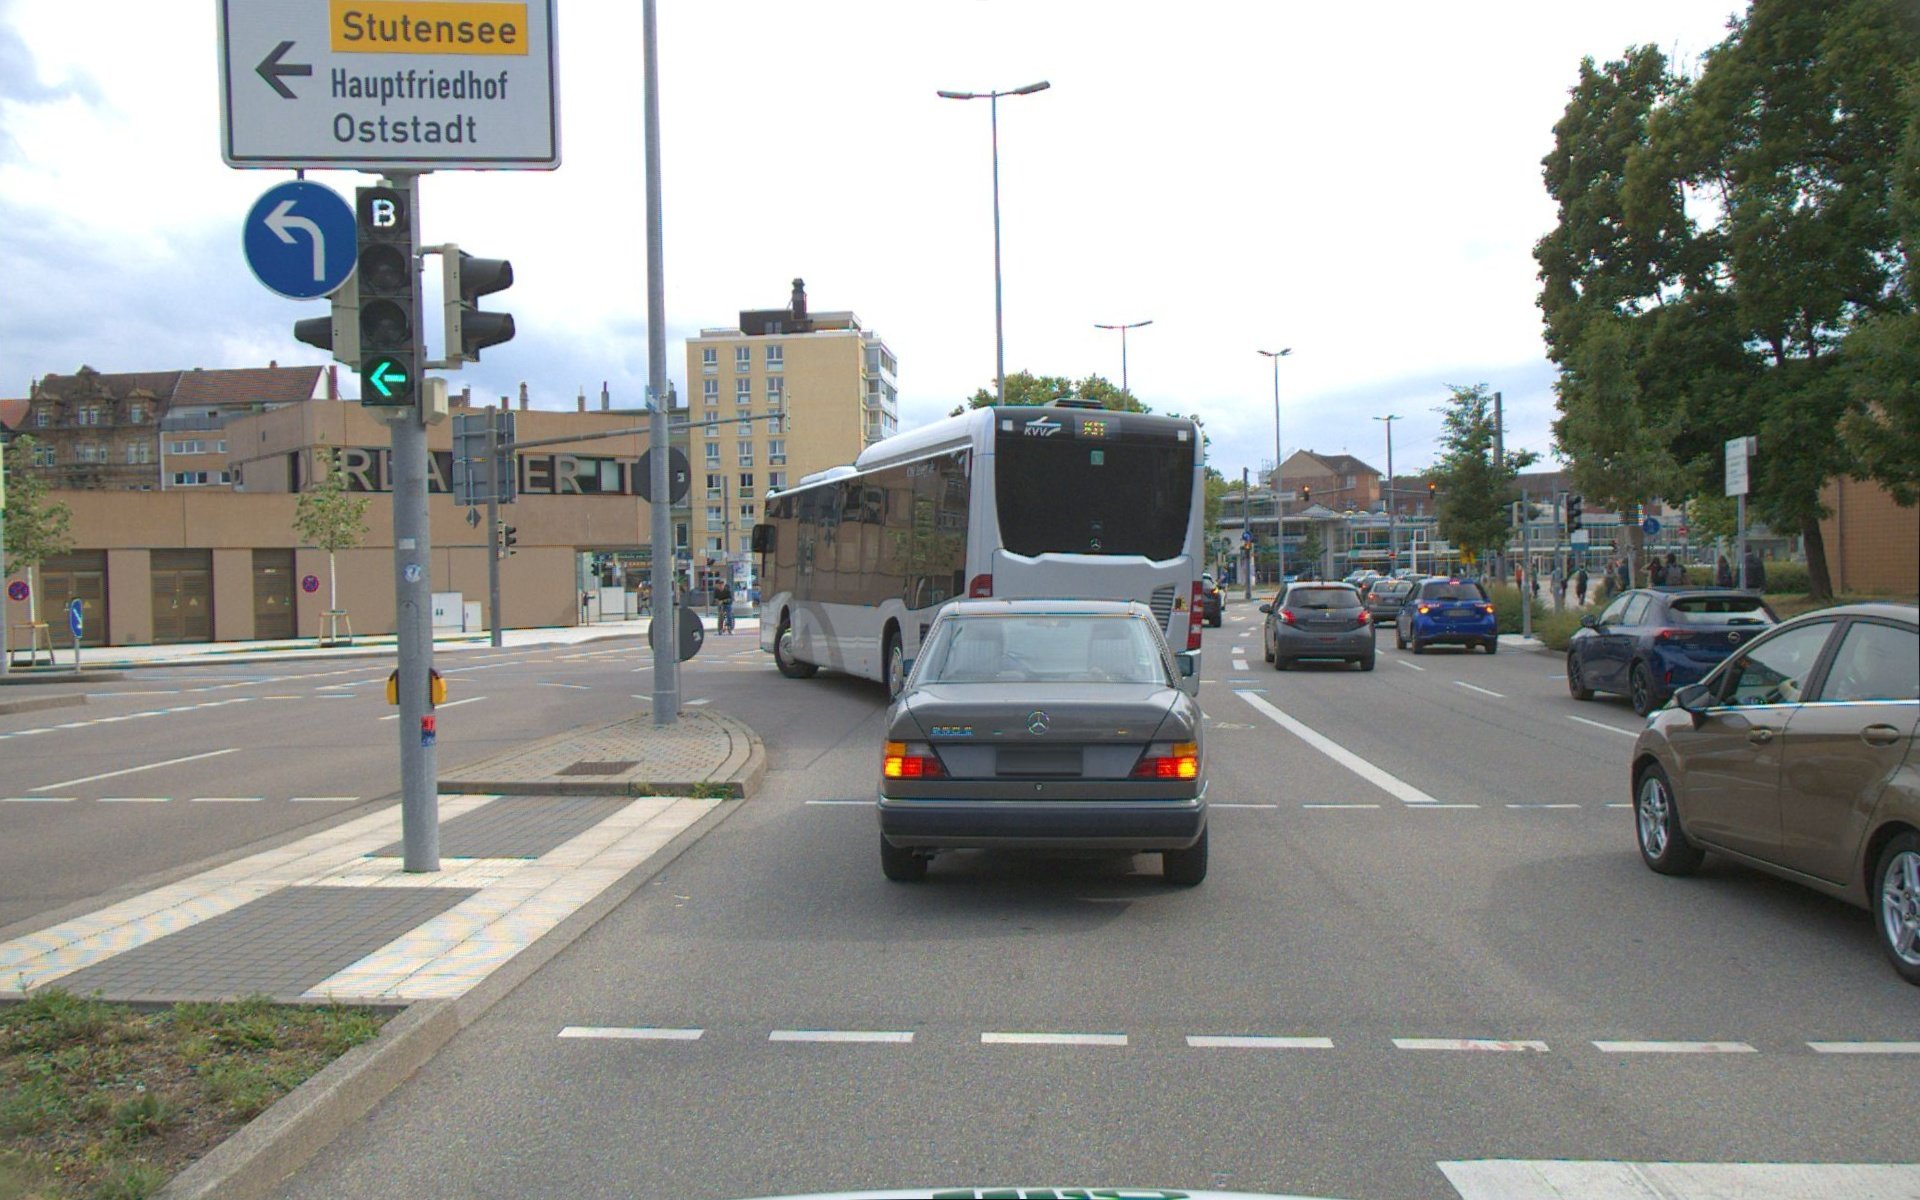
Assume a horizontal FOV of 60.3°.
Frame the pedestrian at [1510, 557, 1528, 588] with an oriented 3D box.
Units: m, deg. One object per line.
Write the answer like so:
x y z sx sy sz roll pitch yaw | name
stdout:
29.467 -1.470 87.152 0.762 1.601 0.812 -3 0 23 | pedestrian

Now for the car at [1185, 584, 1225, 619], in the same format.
10.615 0.060 71.480 1.674 1.445 4.004 0 0 9 | car

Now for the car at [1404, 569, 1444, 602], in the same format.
21.064 -0.665 75.017 1.667 1.445 3.703 0 0 17 | car

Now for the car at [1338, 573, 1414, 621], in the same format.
12.880 -0.100 51.377 2.086 1.445 3.704 0 0 11 | car

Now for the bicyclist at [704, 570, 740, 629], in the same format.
-6.929 -0.023 48.245 0.848 1.698 0.881 0 0 6 | bicyclist

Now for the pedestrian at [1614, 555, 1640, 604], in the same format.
22.830 -0.704 56.621 0.762 1.601 0.812 -3 0 23 | pedestrian

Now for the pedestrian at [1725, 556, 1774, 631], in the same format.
18.484 -0.153 38.718 0.762 1.741 0.812 0 0 0 | pedestrian

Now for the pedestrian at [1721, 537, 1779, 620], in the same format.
17.019 -0.460 35.657 0.762 1.741 1.028 0 0 0 | pedestrian

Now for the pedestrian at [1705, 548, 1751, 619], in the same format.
18.885 -0.407 40.695 0.762 1.741 0.812 0 0 0 | pedestrian

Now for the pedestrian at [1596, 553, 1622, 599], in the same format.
22.999 -0.854 58.584 0.762 1.601 0.812 -3 0 23 | pedestrian

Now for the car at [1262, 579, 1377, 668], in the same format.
6.230 0.367 28.979 1.674 1.445 4.003 0 0 8 | car

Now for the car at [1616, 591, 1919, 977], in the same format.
4.436 0.680 7.354 1.660 1.429 3.701 0 0 2 | car

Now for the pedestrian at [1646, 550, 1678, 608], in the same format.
20.164 -0.602 47.534 0.762 1.601 0.812 -3 0 23 | pedestrian

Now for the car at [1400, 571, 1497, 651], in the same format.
10.110 0.199 34.390 1.818 1.559 4.005 0 0 15 | car

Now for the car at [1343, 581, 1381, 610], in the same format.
20.476 -0.230 84.189 1.674 1.445 4.002 0 0 17 | car

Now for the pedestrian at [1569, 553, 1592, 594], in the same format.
24.546 -1.054 65.395 0.762 1.601 0.812 -3 0 23 | pedestrian

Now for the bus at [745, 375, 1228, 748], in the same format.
-0.574 -0.375 22.837 2.661 3.498 14.123 -3 0 -15 | bus

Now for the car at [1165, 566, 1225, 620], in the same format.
7.397 -0.215 52.377 1.795 1.643 3.549 0 0 7 | car

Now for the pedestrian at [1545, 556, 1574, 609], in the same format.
19.024 -0.560 52.494 0.762 1.601 0.812 -3 0 23 | pedestrian

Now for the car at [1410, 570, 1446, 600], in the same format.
23.120 -0.752 81.607 1.667 1.445 3.703 0 0 17 | car

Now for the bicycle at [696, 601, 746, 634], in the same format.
-6.934 0.496 48.118 0.844 0.892 2.521 0 0 6 | bicycle

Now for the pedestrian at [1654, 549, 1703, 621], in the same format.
17.560 -0.358 40.455 0.762 1.741 1.028 0 0 0 | pedestrian

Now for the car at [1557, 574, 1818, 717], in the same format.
8.477 0.473 19.596 1.631 1.534 3.635 0 0 2 | car

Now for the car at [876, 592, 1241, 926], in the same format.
0.539 0.711 9.747 1.660 1.506 4.417 0 0 2 | car
